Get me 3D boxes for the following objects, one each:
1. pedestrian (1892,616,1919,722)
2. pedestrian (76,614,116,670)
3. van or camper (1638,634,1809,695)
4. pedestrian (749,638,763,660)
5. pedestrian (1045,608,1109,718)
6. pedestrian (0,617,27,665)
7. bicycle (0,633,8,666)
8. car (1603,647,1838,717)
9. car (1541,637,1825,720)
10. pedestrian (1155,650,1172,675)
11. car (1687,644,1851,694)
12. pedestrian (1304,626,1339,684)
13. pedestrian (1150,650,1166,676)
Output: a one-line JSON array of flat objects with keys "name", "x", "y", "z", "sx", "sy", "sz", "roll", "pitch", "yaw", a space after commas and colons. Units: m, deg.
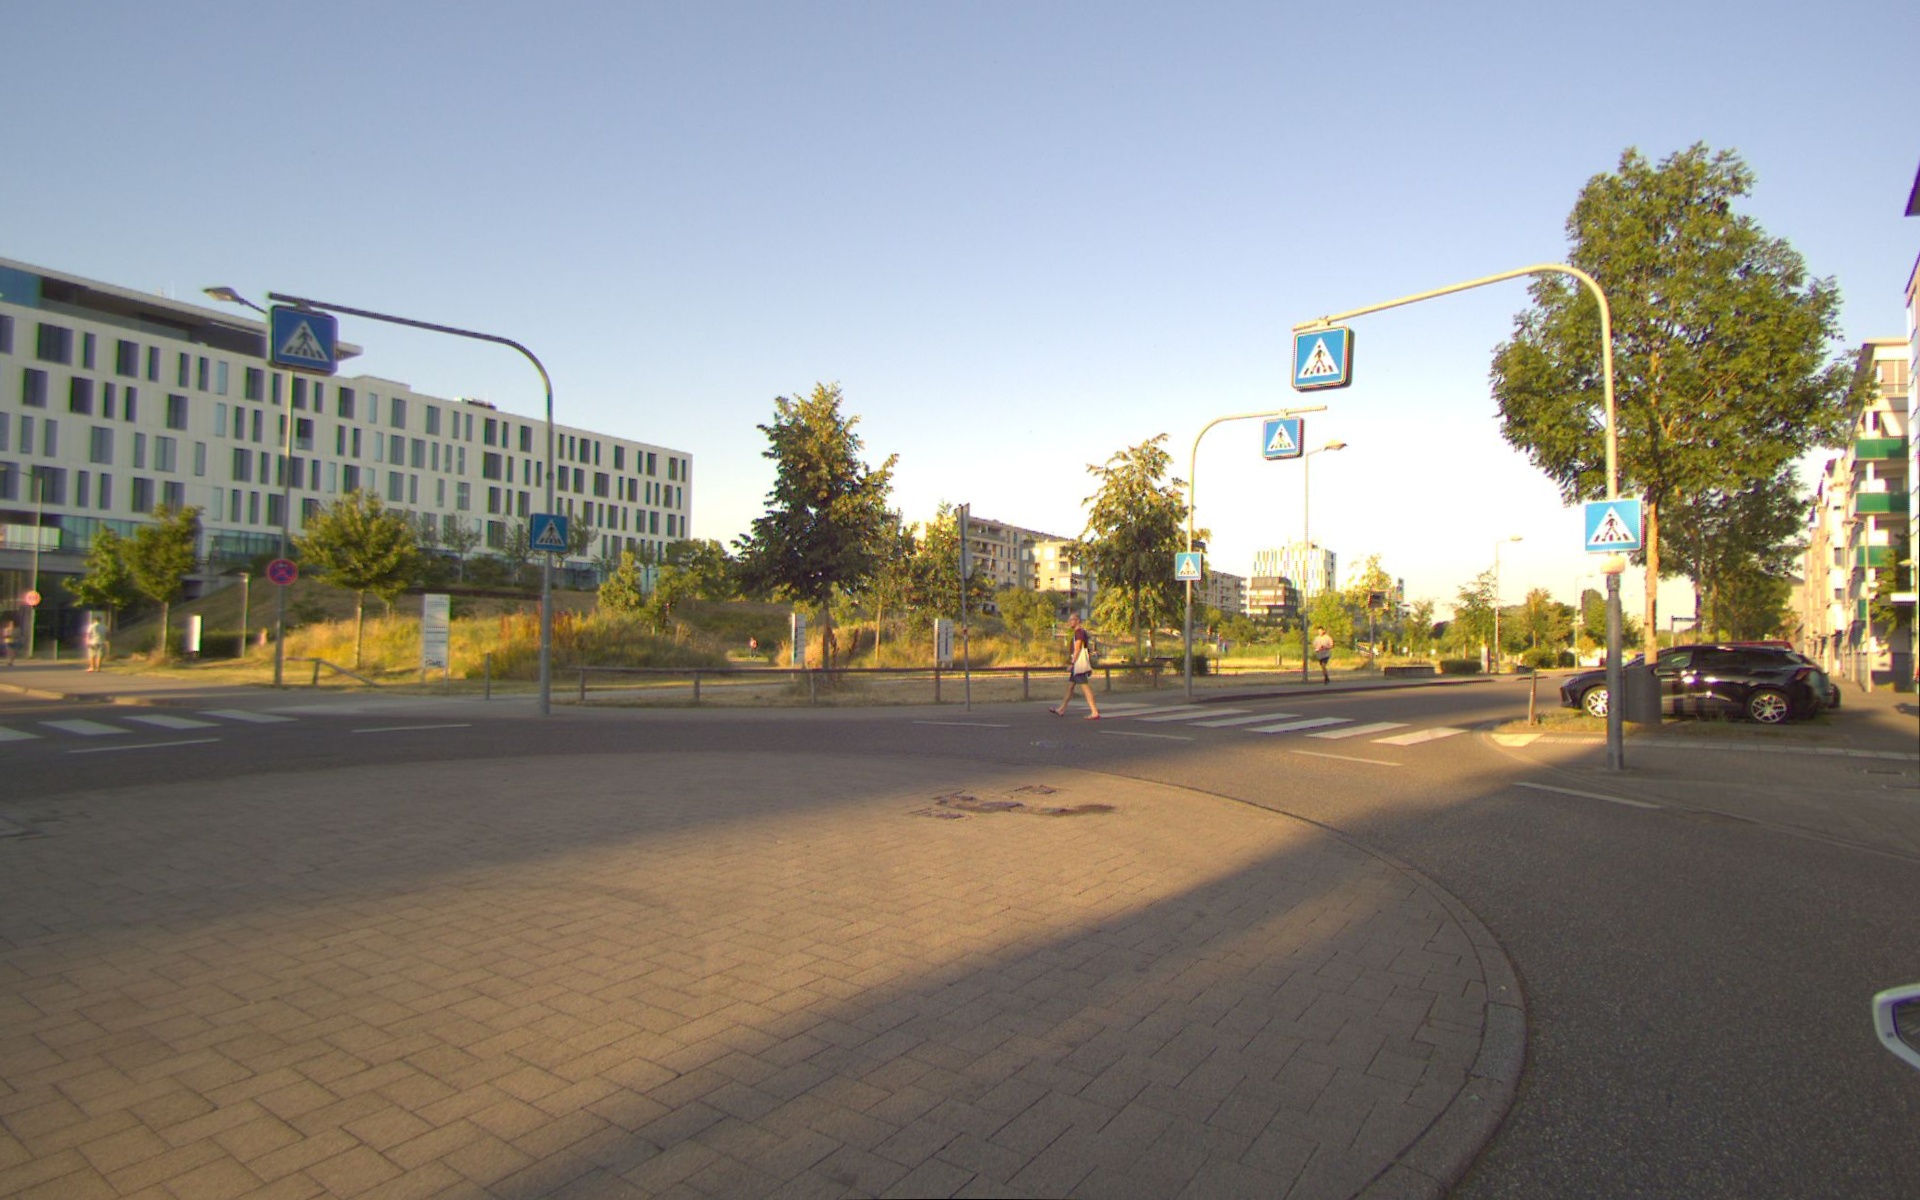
[{"name": "pedestrian", "x": 17.877, "y": 1.283, "z": 18.489, "sx": 0.965, "sy": 1.919, "sz": 1.045, "roll": 0, "pitch": -3, "yaw": 39}, {"name": "pedestrian", "x": -27.857, "y": 1.355, "z": 32.386, "sx": 0.806, "sy": 1.789, "sz": 0.830, "roll": 0, "pitch": -3, "yaw": 41}, {"name": "van or camper", "x": 28.804, "y": 2.403, "z": 38.071, "sx": 5.050, "sy": 2.087, "sz": 1.871, "roll": 0, "pitch": -3, "yaw": 37}, {"name": "pedestrian", "x": -16.821, "y": 4.058, "z": 82.829, "sx": 0.822, "sy": 1.789, "sz": 0.814, "roll": 0, "pitch": -3, "yaw": 42}, {"name": "pedestrian", "x": 2.005, "y": 1.065, "z": 17.142, "sx": 0.789, "sy": 1.807, "sz": 0.732, "roll": 0, "pitch": -2, "yaw": 37}, {"name": "pedestrian", "x": -36.248, "y": 1.576, "z": 38.472, "sx": 0.806, "sy": 1.825, "sz": 0.593, "roll": 0, "pitch": -3, "yaw": 42}, {"name": "bicycle", "x": -36.571, "y": 1.872, "z": 38.069, "sx": 1.912, "sy": 1.184, "sz": 0.449, "roll": 0, "pitch": -3, "yaw": 41}, {"name": "car", "x": 16.573, "y": 1.785, "z": 22.084, "sx": 3.944, "sy": 1.391, "sz": 1.554, "roll": -4, "pitch": -4, "yaw": 37}, {"name": "car", "x": 14.371, "y": 1.576, "z": 20.202, "sx": 4.411, "sy": 1.506, "sz": 1.826, "roll": -4, "pitch": -5, "yaw": 37}, {"name": "pedestrian", "x": 8.336, "y": 2.556, "z": 41.070, "sx": 0.491, "sy": 1.018, "sz": 0.569, "roll": 0, "pitch": -2, "yaw": 34}, {"name": "car", "x": 28.148, "y": 2.387, "z": 35.132, "sx": 4.396, "sy": 1.541, "sz": 1.695, "roll": 0, "pitch": -3, "yaw": 38}, {"name": "pedestrian", "x": 11.190, "y": 1.708, "z": 31.089, "sx": 0.757, "sy": 1.752, "sz": 0.797, "roll": 0, "pitch": -3, "yaw": 43}, {"name": "pedestrian", "x": 7.981, "y": 2.522, "z": 40.497, "sx": 0.491, "sy": 1.018, "sz": 0.480, "roll": 0, "pitch": -2, "yaw": 34}]
